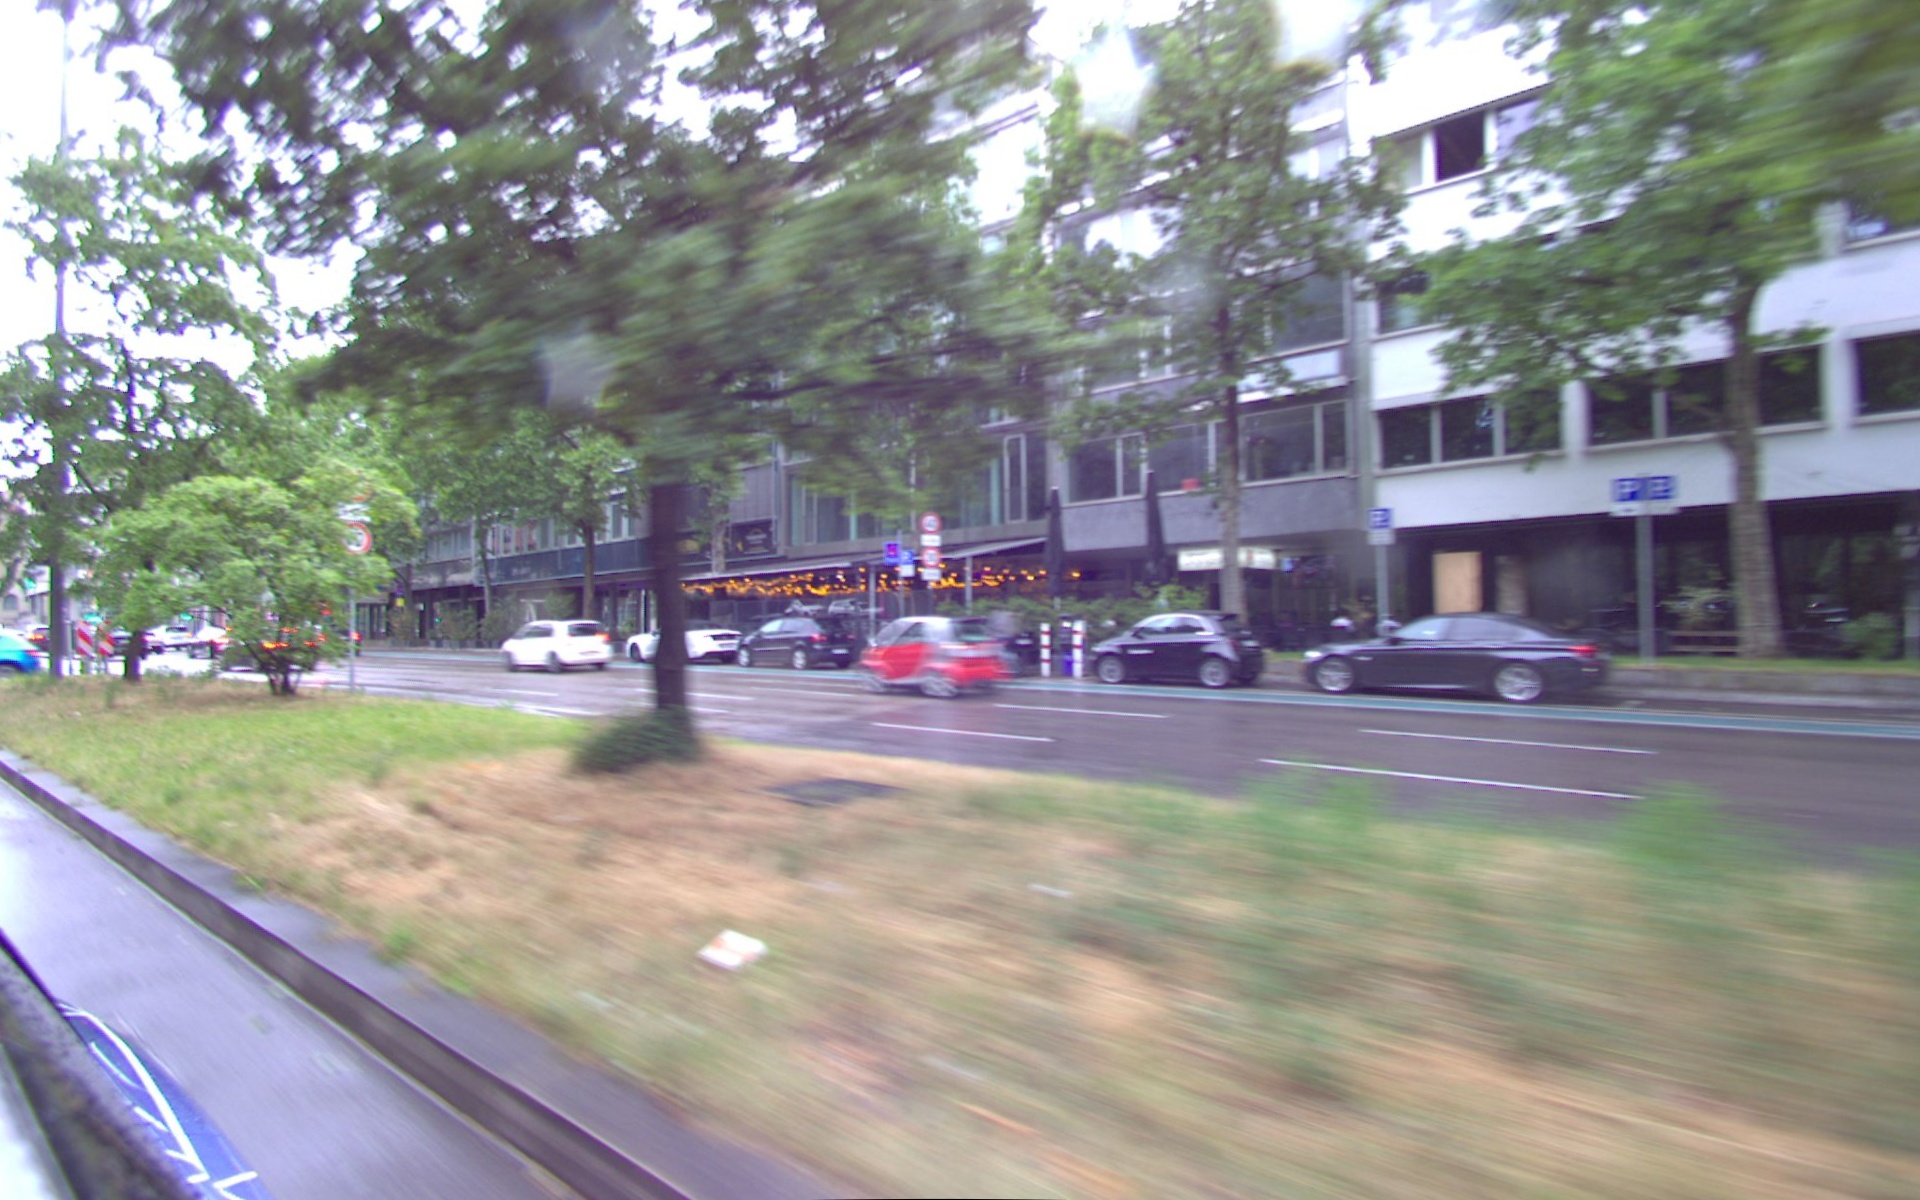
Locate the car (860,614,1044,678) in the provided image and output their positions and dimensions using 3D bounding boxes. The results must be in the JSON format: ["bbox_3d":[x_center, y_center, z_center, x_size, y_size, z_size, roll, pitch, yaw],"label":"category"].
[{"bbox_3d":[-0.280,1.114,24.594,4.452,1.420,1.676,-3,-2,40],"label":"car"}]

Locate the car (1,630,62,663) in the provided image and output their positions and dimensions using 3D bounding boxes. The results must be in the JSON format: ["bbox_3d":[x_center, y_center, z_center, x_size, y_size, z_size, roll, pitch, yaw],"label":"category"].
[{"bbox_3d":[-53.211,2.672,57.947,5.102,1.780,1.818,-3,-2,39],"label":"car"}]

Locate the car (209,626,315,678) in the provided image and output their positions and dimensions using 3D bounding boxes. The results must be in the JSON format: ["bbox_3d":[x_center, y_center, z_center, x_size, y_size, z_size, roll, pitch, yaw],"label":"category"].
[{"bbox_3d":[-22.531,1.620,32.636,4.091,1.487,1.732,-1,0,39],"label":"car"}]

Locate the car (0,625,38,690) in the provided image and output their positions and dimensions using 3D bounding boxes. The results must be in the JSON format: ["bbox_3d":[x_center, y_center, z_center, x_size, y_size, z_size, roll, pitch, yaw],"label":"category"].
[{"bbox_3d":[-24.052,1.406,23.100,1.850,1.493,4.333,-4,-2,44],"label":"car"}]

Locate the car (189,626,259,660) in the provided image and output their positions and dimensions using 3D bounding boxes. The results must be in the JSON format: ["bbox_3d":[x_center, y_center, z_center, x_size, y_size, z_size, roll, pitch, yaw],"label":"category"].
[{"bbox_3d":[-33.857,1.972,46.498,4.093,1.487,1.731,-2,-2,41],"label":"car"}]

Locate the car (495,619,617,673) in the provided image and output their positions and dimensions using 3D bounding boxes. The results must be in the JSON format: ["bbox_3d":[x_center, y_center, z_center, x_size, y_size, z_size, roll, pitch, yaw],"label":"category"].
[{"bbox_3d":[-11.844,1.336,29.595,3.640,1.440,1.825,-3,-2,40],"label":"car"}]

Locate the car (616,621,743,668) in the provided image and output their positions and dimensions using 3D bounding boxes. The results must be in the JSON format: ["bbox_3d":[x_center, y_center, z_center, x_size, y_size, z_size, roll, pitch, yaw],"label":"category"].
[{"bbox_3d":[-9.059,1.427,32.464,4.679,1.364,1.543,-3,-1,41],"label":"car"}]

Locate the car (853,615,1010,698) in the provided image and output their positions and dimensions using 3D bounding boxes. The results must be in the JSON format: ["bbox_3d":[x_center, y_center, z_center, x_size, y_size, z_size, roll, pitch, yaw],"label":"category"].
[{"bbox_3d":[-0.574,1.048,19.400,2.730,1.474,1.478,-2,-2,42],"label":"car"}]

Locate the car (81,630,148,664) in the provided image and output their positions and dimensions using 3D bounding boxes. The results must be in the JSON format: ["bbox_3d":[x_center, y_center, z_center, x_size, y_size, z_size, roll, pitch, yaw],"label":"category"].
[{"bbox_3d":[-38.886,2.138,46.518,4.093,1.487,1.731,-2,-2,41],"label":"car"}]

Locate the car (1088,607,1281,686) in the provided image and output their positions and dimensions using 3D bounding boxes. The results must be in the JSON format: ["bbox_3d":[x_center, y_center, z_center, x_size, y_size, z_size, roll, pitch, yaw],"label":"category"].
[{"bbox_3d":[4.535,0.936,20.658,3.457,1.479,1.676,-3,-2,40],"label":"car"}]

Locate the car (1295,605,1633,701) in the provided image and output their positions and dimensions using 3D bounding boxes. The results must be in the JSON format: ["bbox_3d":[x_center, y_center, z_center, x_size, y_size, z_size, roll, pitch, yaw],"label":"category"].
[{"bbox_3d":[8.477,0.876,17.350,4.901,1.420,1.675,-3,-2,41],"label":"car"}]

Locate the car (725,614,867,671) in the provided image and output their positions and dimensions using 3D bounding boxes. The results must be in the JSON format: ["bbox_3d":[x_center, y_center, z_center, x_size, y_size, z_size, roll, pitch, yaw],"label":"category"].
[{"bbox_3d":[-4.722,1.203,28.876,3.997,1.519,1.818,-3,-2,40],"label":"car"}]

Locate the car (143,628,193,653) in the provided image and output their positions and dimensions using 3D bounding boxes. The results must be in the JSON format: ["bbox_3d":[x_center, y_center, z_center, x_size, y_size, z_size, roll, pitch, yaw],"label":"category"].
[{"bbox_3d":[-51.578,2.646,65.865,3.996,1.577,1.735,-2,-2,39],"label":"car"}]

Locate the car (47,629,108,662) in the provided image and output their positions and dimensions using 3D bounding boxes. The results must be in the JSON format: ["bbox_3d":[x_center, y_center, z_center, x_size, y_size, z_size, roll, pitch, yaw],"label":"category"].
[{"bbox_3d":[-45.455,2.350,52.117,4.828,1.585,1.717,-3,-2,41],"label":"car"}]

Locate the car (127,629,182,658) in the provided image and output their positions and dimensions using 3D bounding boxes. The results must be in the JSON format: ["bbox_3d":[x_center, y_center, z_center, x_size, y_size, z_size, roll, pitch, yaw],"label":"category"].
[{"bbox_3d":[-44.285,2.374,55.615,4.568,1.502,1.701,-2,-2,42],"label":"car"}]
